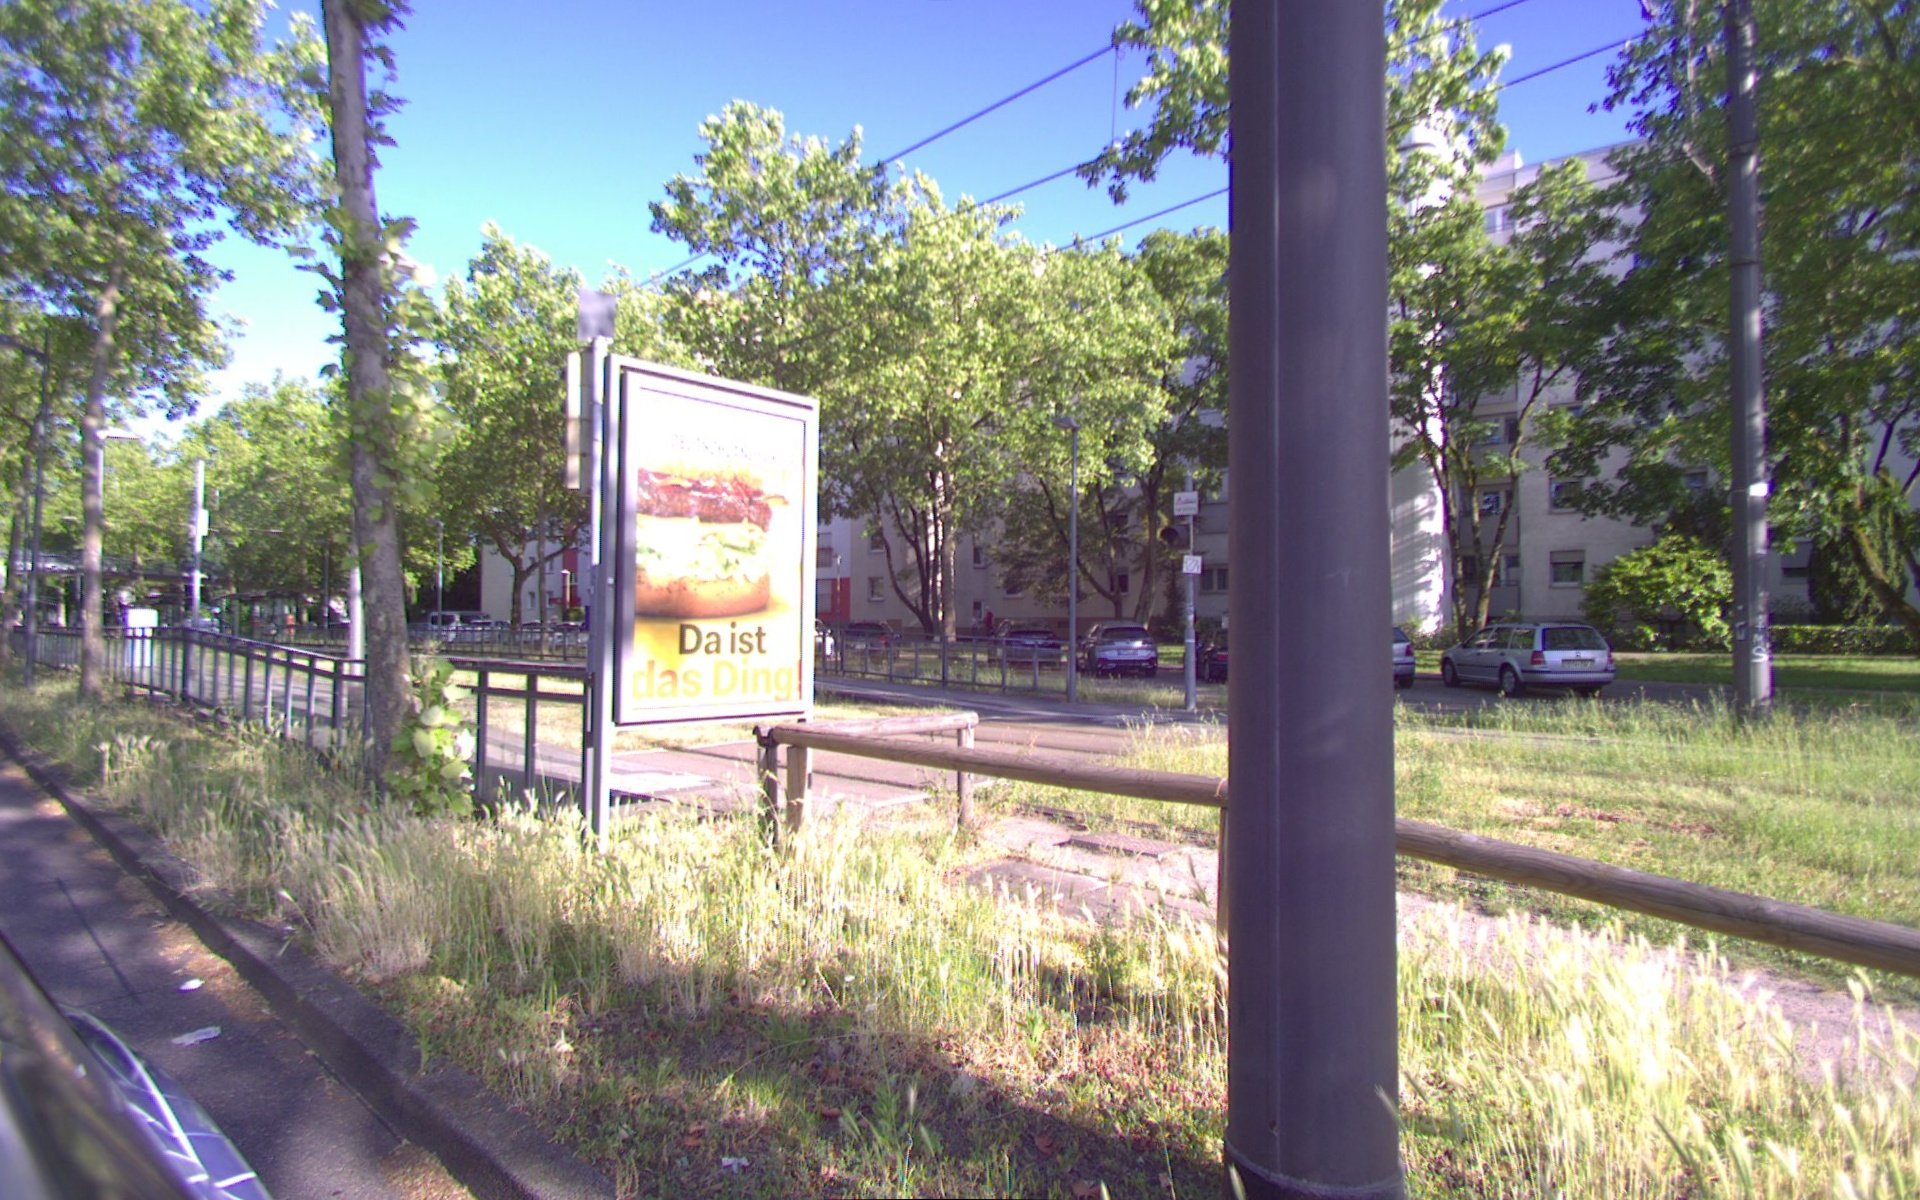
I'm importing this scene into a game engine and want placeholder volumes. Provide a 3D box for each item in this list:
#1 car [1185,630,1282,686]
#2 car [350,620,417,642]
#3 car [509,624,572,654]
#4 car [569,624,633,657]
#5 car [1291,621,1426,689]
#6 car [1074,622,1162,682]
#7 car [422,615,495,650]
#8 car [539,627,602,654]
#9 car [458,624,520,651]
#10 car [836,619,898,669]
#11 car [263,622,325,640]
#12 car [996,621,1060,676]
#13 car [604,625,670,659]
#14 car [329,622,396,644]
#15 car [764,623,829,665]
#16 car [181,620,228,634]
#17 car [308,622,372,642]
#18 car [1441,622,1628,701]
[{"bbox_3d":[6.726,1.401,25.213,1.602,1.256,3.677,0,-1,4],"label":"car"},{"bbox_3d":[-37.869,1.998,66.582,1.898,1.386,4.365,0,-1,1],"label":"car"},{"bbox_3d":[-21.127,1.958,51.139,1.627,1.460,3.680,0,-1,1],"label":"car"},{"bbox_3d":[-16.686,1.842,47.141,1.627,1.460,3.680,0,-1,1],"label":"car"},{"bbox_3d":[9.150,1.220,23.533,1.679,1.444,3.681,0,-1,1],"label":"car"},{"bbox_3d":[4.203,1.346,27.498,1.894,1.507,3.680,0,-1,2],"label":"car"},{"bbox_3d":[-28.331,1.825,57.333,1.898,1.898,4.365,0,-1,1],"label":"car"},{"bbox_3d":[-19.050,1.980,49.671,1.627,1.251,3.680,0,-1,1],"label":"car"},{"bbox_3d":[-25.802,2.034,55.524,1.627,1.407,3.680,0,-1,1],"label":"car"},{"bbox_3d":[-3.111,1.458,34.474,1.664,1.579,3.679,0,-1,2],"label":"car"},{"bbox_3d":[-52.151,2.402,79.369,1.898,1.386,4.365,0,-1,1],"label":"car"},{"bbox_3d":[1.930,1.368,29.452,1.664,1.482,3.680,0,-1,1],"label":"car"},{"bbox_3d":[-14.087,1.819,44.286,1.627,1.403,3.679,0,-1,2],"label":"car"},{"bbox_3d":[-40.287,2.202,68.396,1.898,1.386,4.365,0,-1,1],"label":"car"},{"bbox_3d":[-5.913,1.571,36.923,1.664,1.444,3.679,0,-1,2],"label":"car"},{"bbox_3d":[-75.286,2.660,100.945,1.601,1.353,4.023,0,-1,3],"label":"car"},{"bbox_3d":[-44.649,2.280,72.989,1.898,1.386,4.365,0,-1,1],"label":"car"},{"bbox_3d":[11.545,1.177,20.634,1.707,1.444,3.681,0,-1,1],"label":"car"}]
